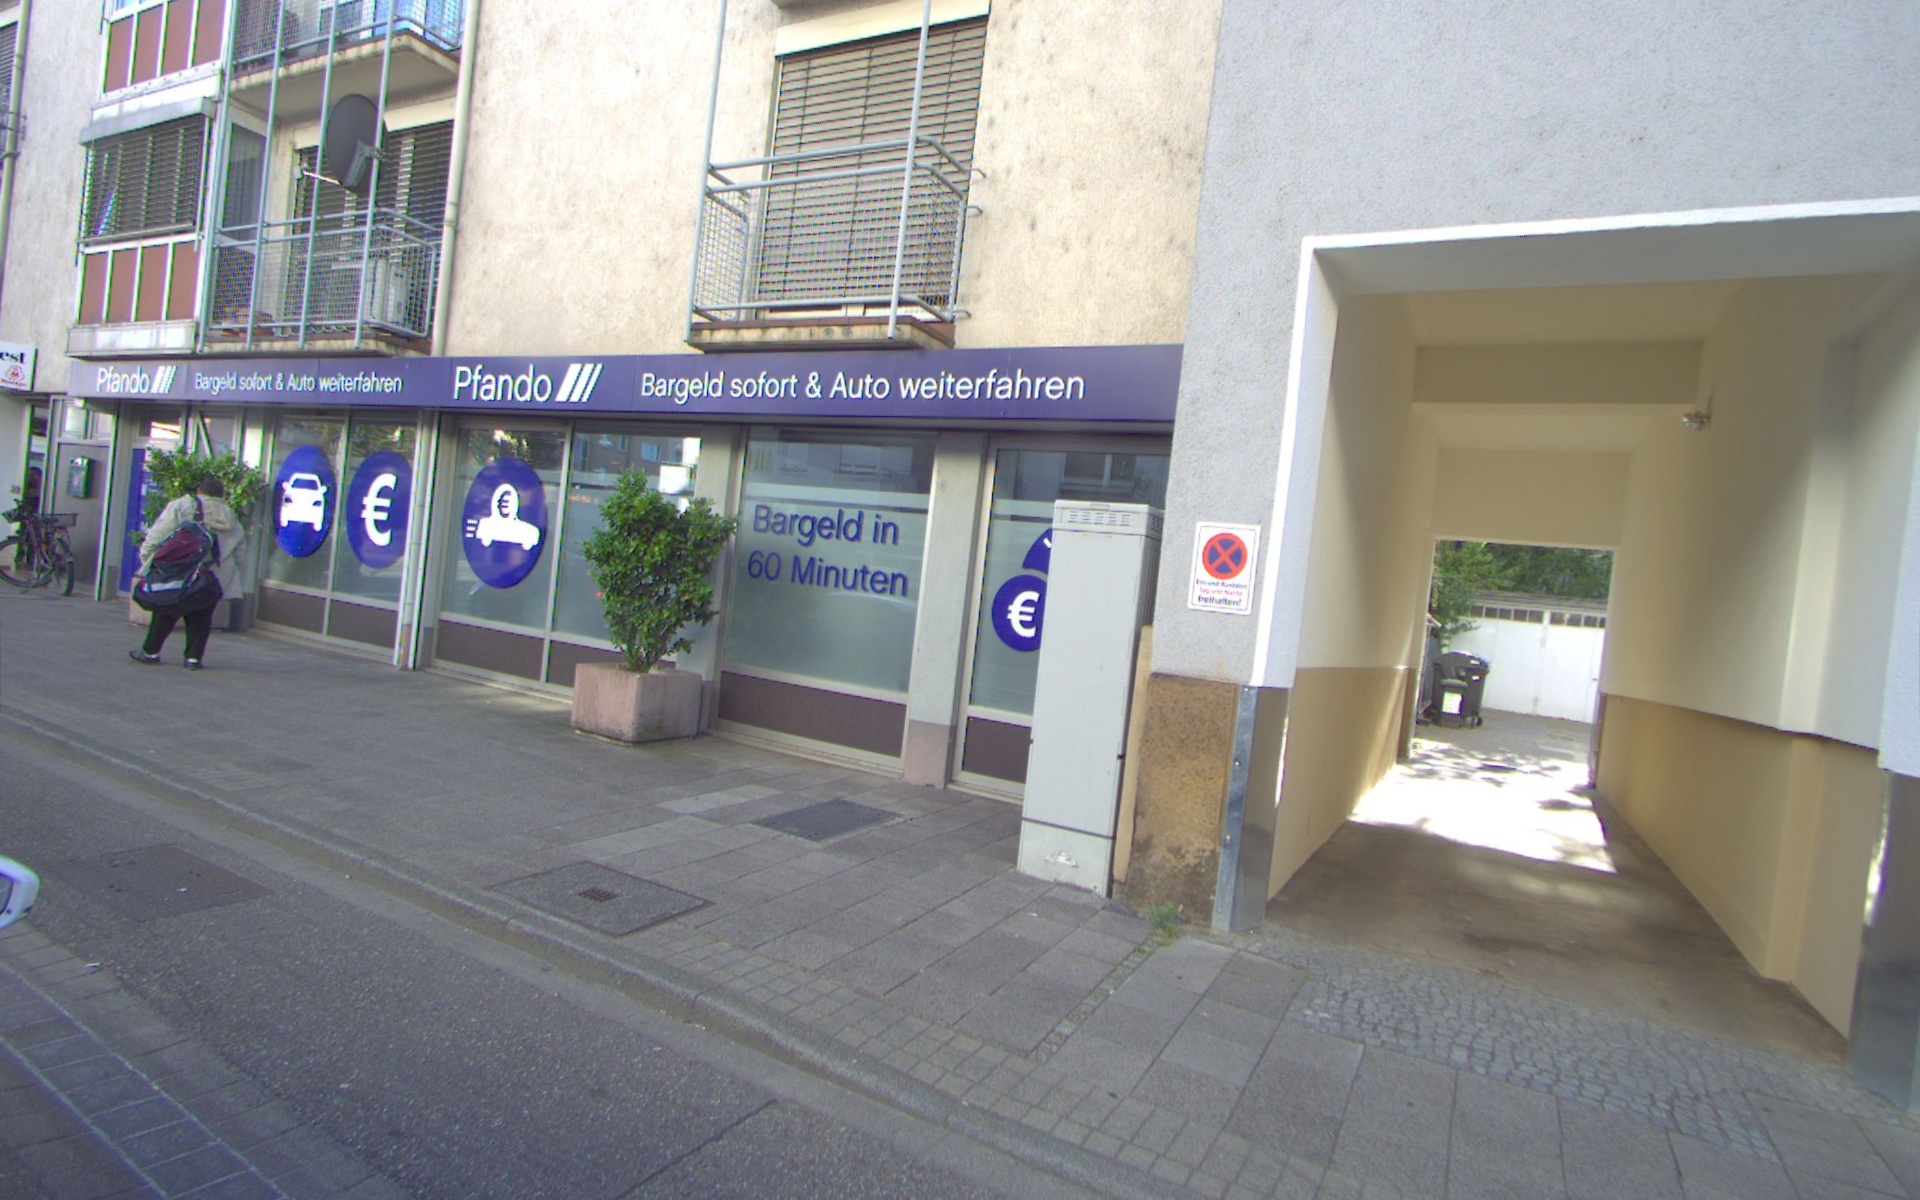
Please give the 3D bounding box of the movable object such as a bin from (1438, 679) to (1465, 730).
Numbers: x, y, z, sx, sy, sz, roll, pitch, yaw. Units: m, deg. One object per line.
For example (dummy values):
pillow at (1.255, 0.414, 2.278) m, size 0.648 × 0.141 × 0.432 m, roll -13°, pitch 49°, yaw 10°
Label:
movable object such as a bin at (9.504, 2.007, 19.432) m, size 0.365 × 0.920 × 0.420 m, roll 7°, pitch 2°, yaw 28°

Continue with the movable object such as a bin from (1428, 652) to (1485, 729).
movable object such as a bin at (9.948, 1.790, 20.151) m, size 0.873 × 1.411 × 0.758 m, roll 7°, pitch 2°, yaw 28°

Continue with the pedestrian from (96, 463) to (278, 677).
pedestrian at (-6.341, -0.229, 8.275) m, size 0.738 × 1.611 × 0.827 m, roll 6°, pitch -1°, yaw 31°

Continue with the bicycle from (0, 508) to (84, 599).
bicycle at (-11.912, -0.623, 12.834) m, size 1.678 × 1.010 × 0.543 m, roll 6°, pitch -1°, yaw 32°
